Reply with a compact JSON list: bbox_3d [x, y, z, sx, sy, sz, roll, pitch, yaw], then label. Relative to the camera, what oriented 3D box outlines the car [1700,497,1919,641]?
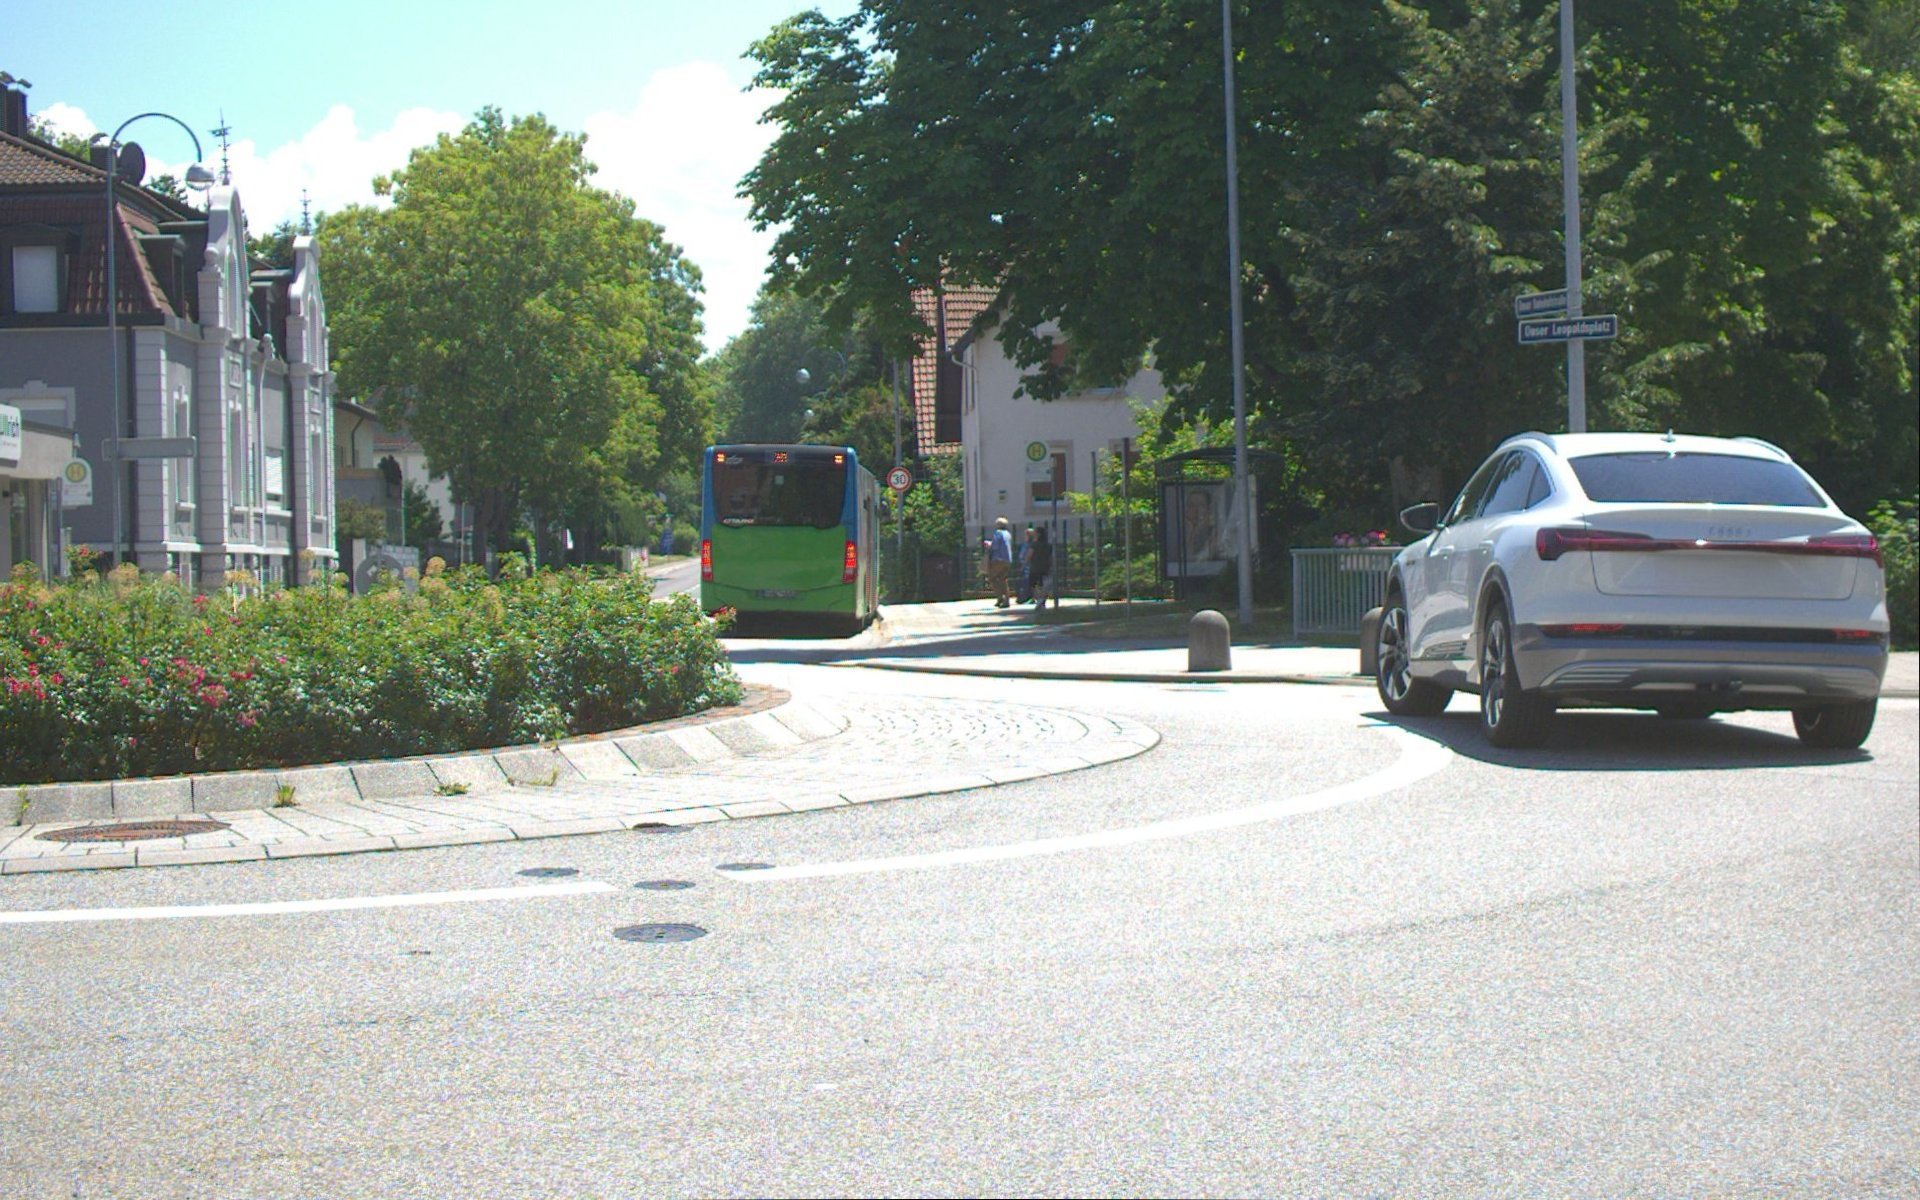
[{"bbox_3d":[10.273,-0.383,39.434,3.048,1.547,1.635,-2,1,-15],"label":"car"}]

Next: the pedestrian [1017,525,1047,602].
[{"bbox_3d":[1.430,-0.735,68.300,0.488,1.517,0.543,-1,1,-8],"label":"pedestrian"}]

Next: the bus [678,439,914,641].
[{"bbox_3d":[-2.731,-1.046,63.314,3.706,3.160,18.070,1,1,-1],"label":"bus"}]

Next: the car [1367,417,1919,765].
[{"bbox_3d":[3.545,-0.092,18.710,1.898,1.656,4.410,0,1,-3],"label":"car"}]

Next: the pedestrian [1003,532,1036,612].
[{"bbox_3d":[1.088,-0.513,62.822,0.489,1.449,0.531,-1,1,-8],"label":"pedestrian"}]

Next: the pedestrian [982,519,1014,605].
[{"bbox_3d":[0.729,-0.730,65.900,0.502,1.644,0.580,-1,1,-8],"label":"pedestrian"}]

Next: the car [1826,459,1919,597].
[{"bbox_3d":[15.006,-1.079,50.423,1.994,2.007,3.998,-2,2,-42],"label":"car"}]
